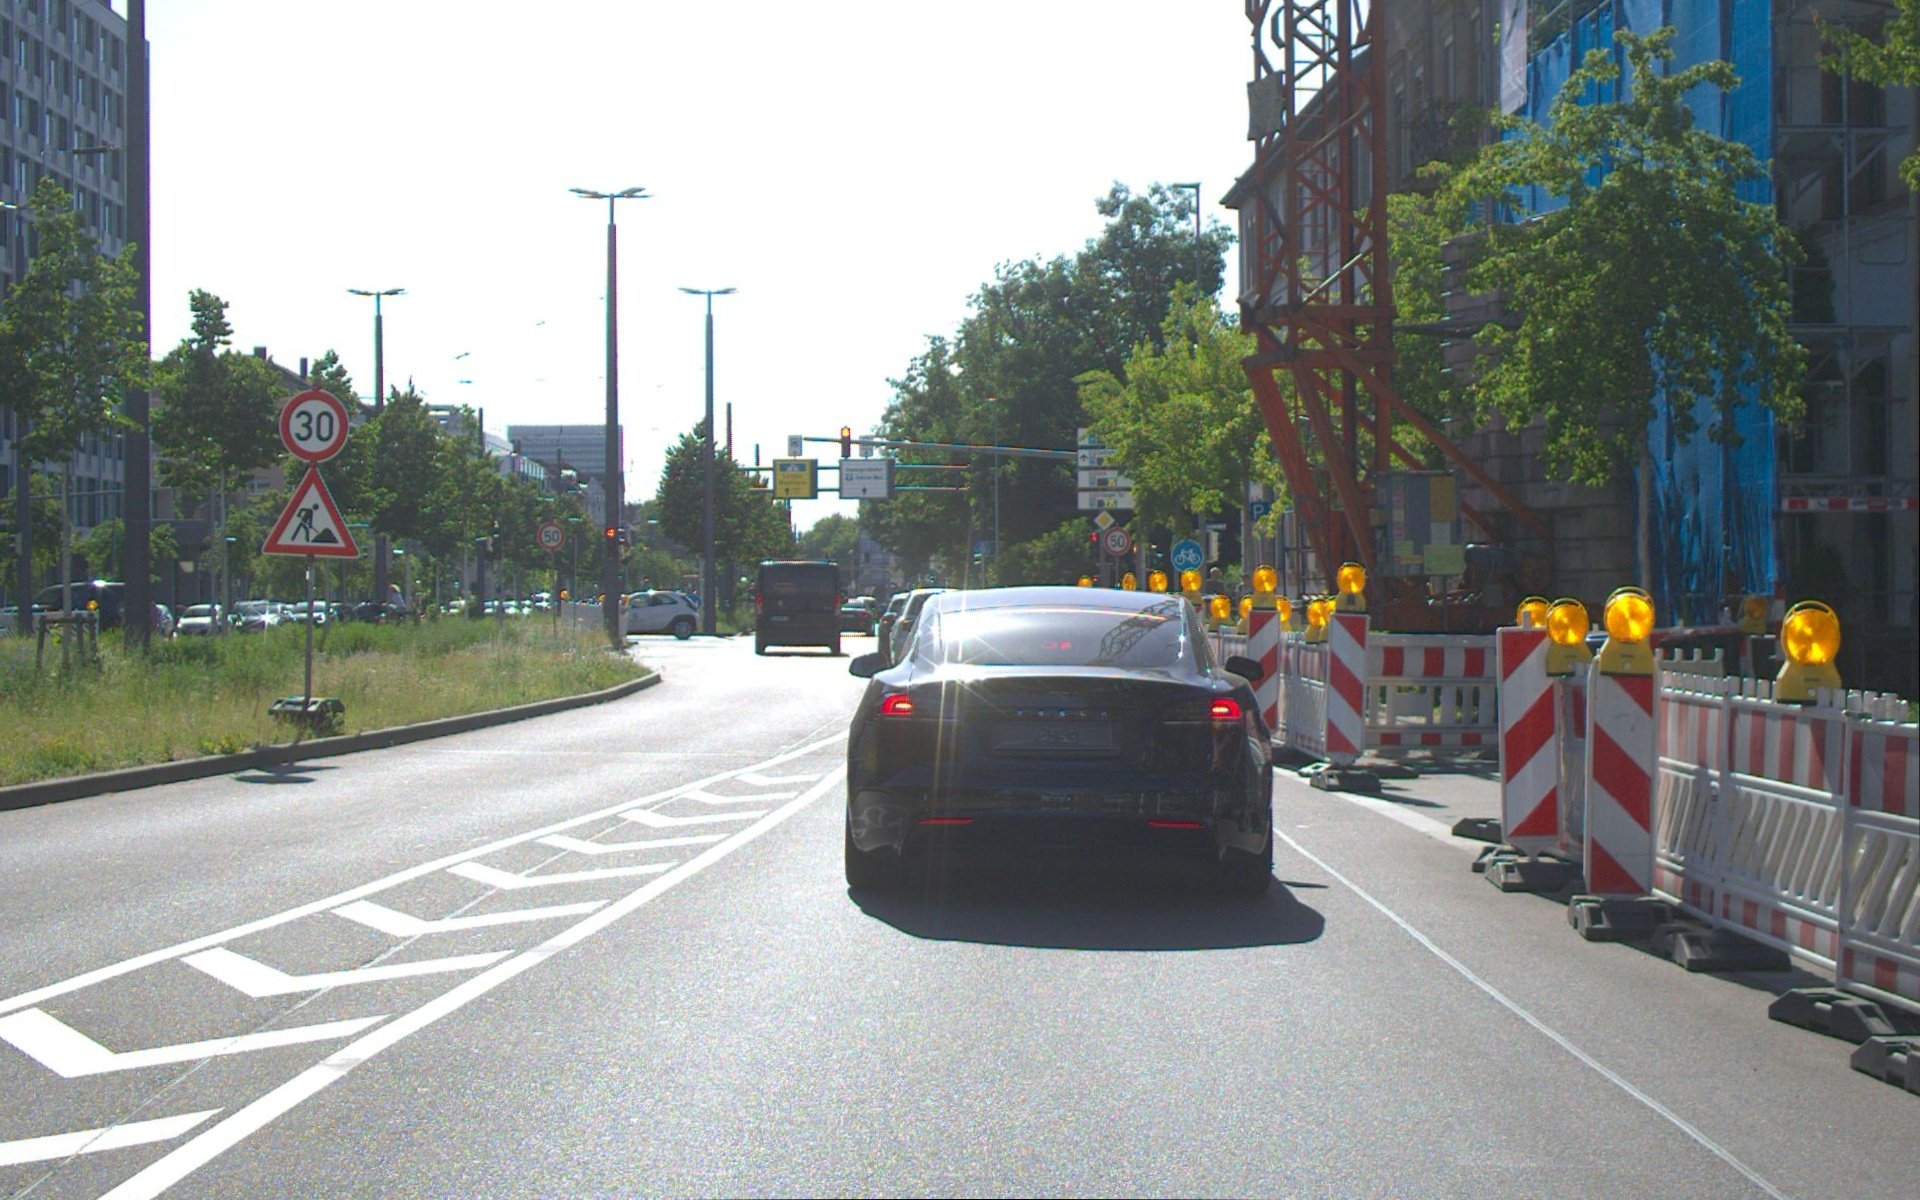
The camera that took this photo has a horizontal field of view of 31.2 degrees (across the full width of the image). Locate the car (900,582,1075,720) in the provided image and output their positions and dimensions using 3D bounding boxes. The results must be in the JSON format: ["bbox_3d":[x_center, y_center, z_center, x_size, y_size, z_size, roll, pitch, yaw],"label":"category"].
[{"bbox_3d":[0.245,0.516,38.360,1.747,1.422,4.838,0,0,-2],"label":"car"}]

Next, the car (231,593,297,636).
[{"bbox_3d":[-27.073,0.552,133.809,1.790,1.645,4.000,-1,0,-1],"label":"car"}]

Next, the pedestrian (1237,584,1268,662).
[{"bbox_3d":[6.933,0.536,81.477,0.563,1.815,0.587,-3,0,-2],"label":"pedestrian"}]

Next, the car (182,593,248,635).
[{"bbox_3d":[-29.497,0.538,136.206,1.790,1.645,4.000,-1,0,-1],"label":"car"}]

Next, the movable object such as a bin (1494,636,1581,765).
[{"bbox_3d":[4.901,0.848,29.202,0.587,1.054,0.730,1,0,-1],"label":"movable object such as a bin"}]

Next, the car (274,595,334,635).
[{"bbox_3d":[-27.145,0.612,142.322,1.790,1.645,4.000,-1,0,-1],"label":"car"}]

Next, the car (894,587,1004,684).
[{"bbox_3d":[-0.214,0.563,57.281,1.749,1.522,4.005,1,0,-1],"label":"car"}]

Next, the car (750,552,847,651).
[{"bbox_3d":[-3.868,0.010,82.476,2.218,2.259,4.484,1,1,-3],"label":"car"}]

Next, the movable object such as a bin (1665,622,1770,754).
[{"bbox_3d":[6.464,0.743,29.365,0.587,1.054,0.783,-5,1,-6],"label":"movable object such as a bin"}]

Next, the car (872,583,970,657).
[{"bbox_3d":[-0.809,0.392,69.484,1.791,1.423,3.850,1,0,-3],"label":"car"}]

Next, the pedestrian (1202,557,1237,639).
[{"bbox_3d":[6.134,-0.055,81.370,0.658,1.906,0.587,-3,0,-2],"label":"pedestrian"}]

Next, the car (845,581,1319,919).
[{"bbox_3d":[0.463,0.645,17.310,2.051,1.439,4.524,1,0,-2],"label":"car"}]

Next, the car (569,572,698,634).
[{"bbox_3d":[-10.261,0.083,107.781,3.972,1.912,1.915,0,0,-7],"label":"car"}]

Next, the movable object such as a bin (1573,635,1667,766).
[{"bbox_3d":[5.648,0.854,29.439,0.595,1.054,0.730,-4,0,-1],"label":"movable object such as a bin"}]

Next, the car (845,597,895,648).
[{"bbox_3d":[-3.466,0.852,131.582,1.791,1.867,3.850,1,0,-3],"label":"car"}]
